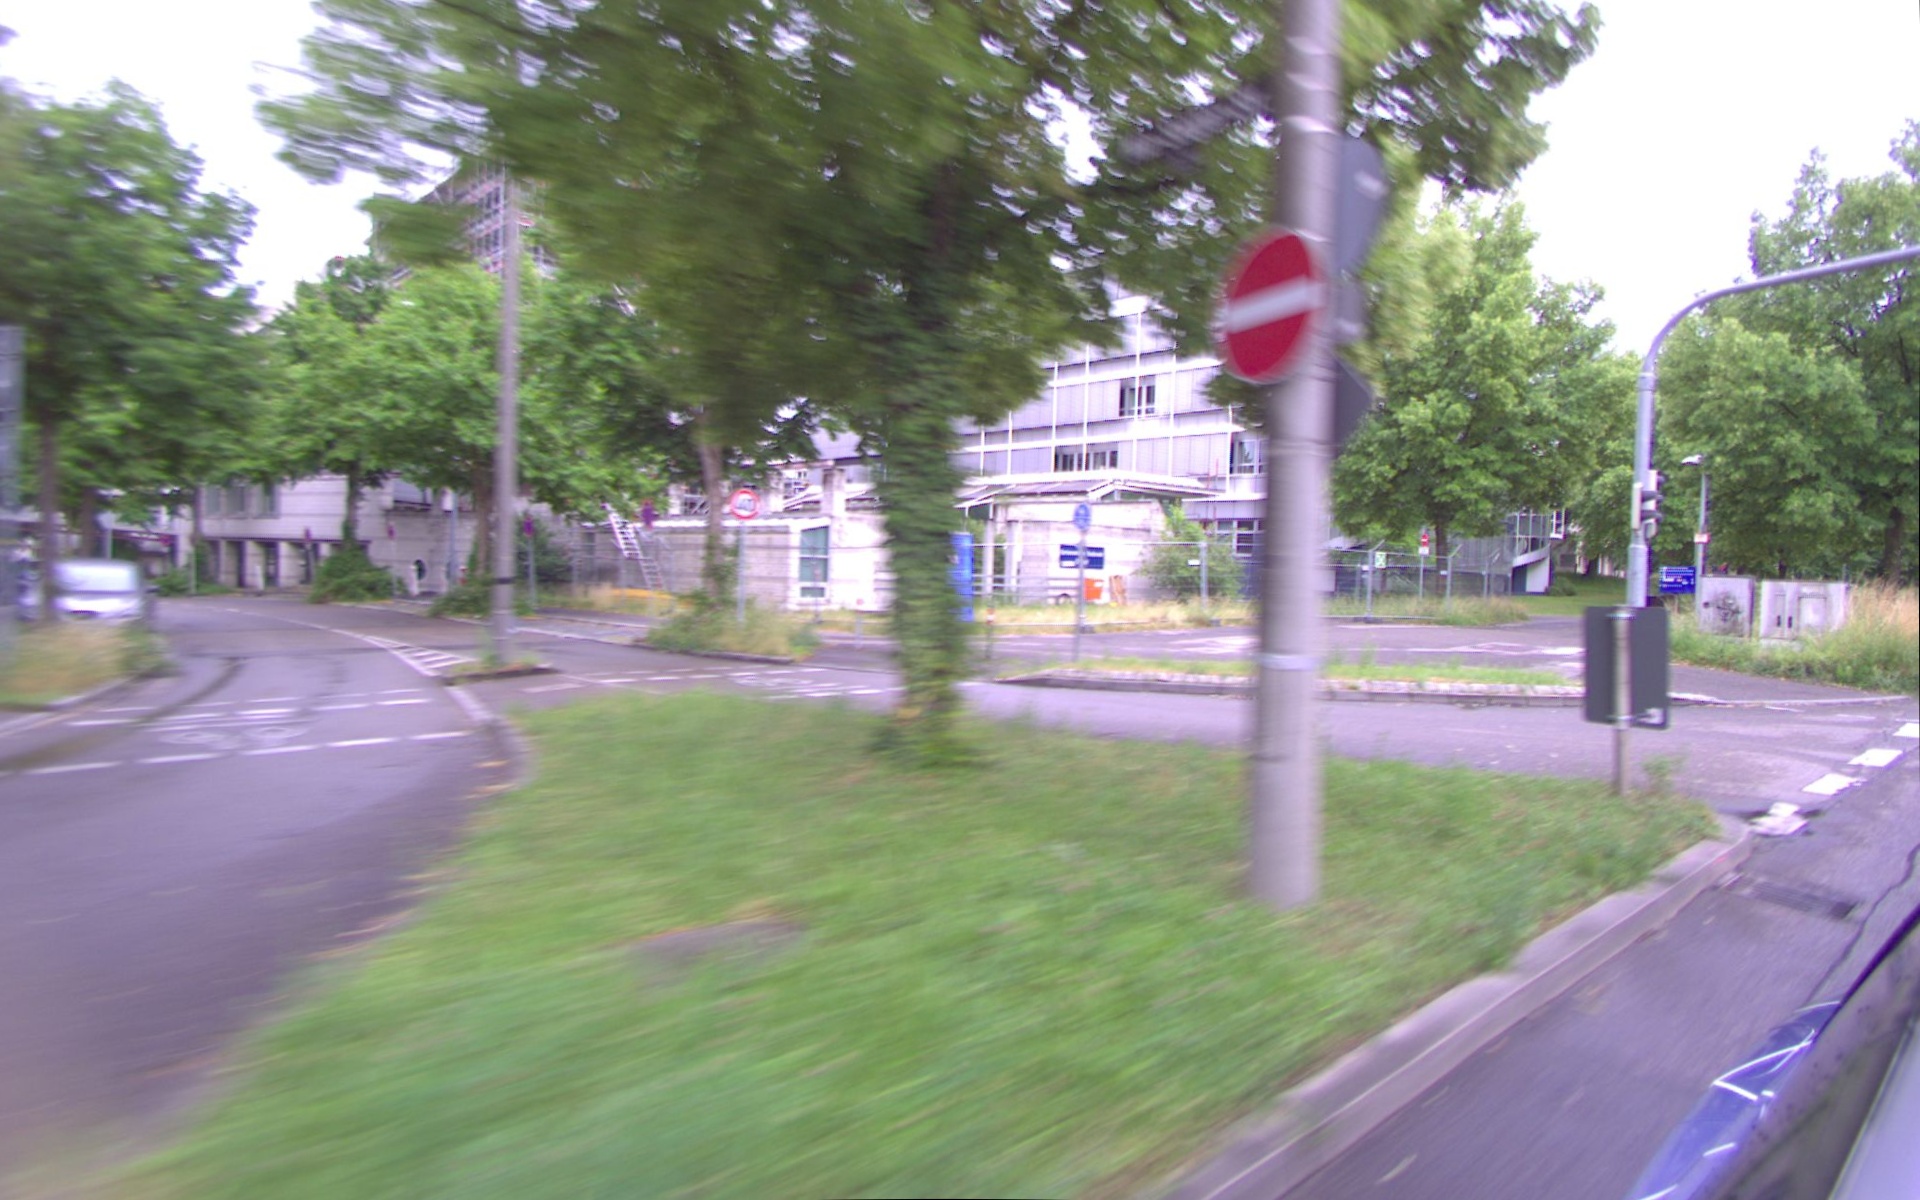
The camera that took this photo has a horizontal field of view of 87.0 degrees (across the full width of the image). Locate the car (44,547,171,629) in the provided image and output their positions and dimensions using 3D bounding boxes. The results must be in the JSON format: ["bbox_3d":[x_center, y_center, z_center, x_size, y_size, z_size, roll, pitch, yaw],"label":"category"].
[{"bbox_3d":[-18.554,-0.309,22.192,1.724,1.598,4.111,3,1,-35],"label":"car"}]

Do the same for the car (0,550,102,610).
[{"bbox_3d":[-27.894,-0.625,30.833,4.086,1.641,1.735,3,1,36],"label":"car"}]

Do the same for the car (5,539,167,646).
[{"bbox_3d":[-15.364,-0.178,17.984,1.724,1.662,4.111,3,1,-35],"label":"car"}]
